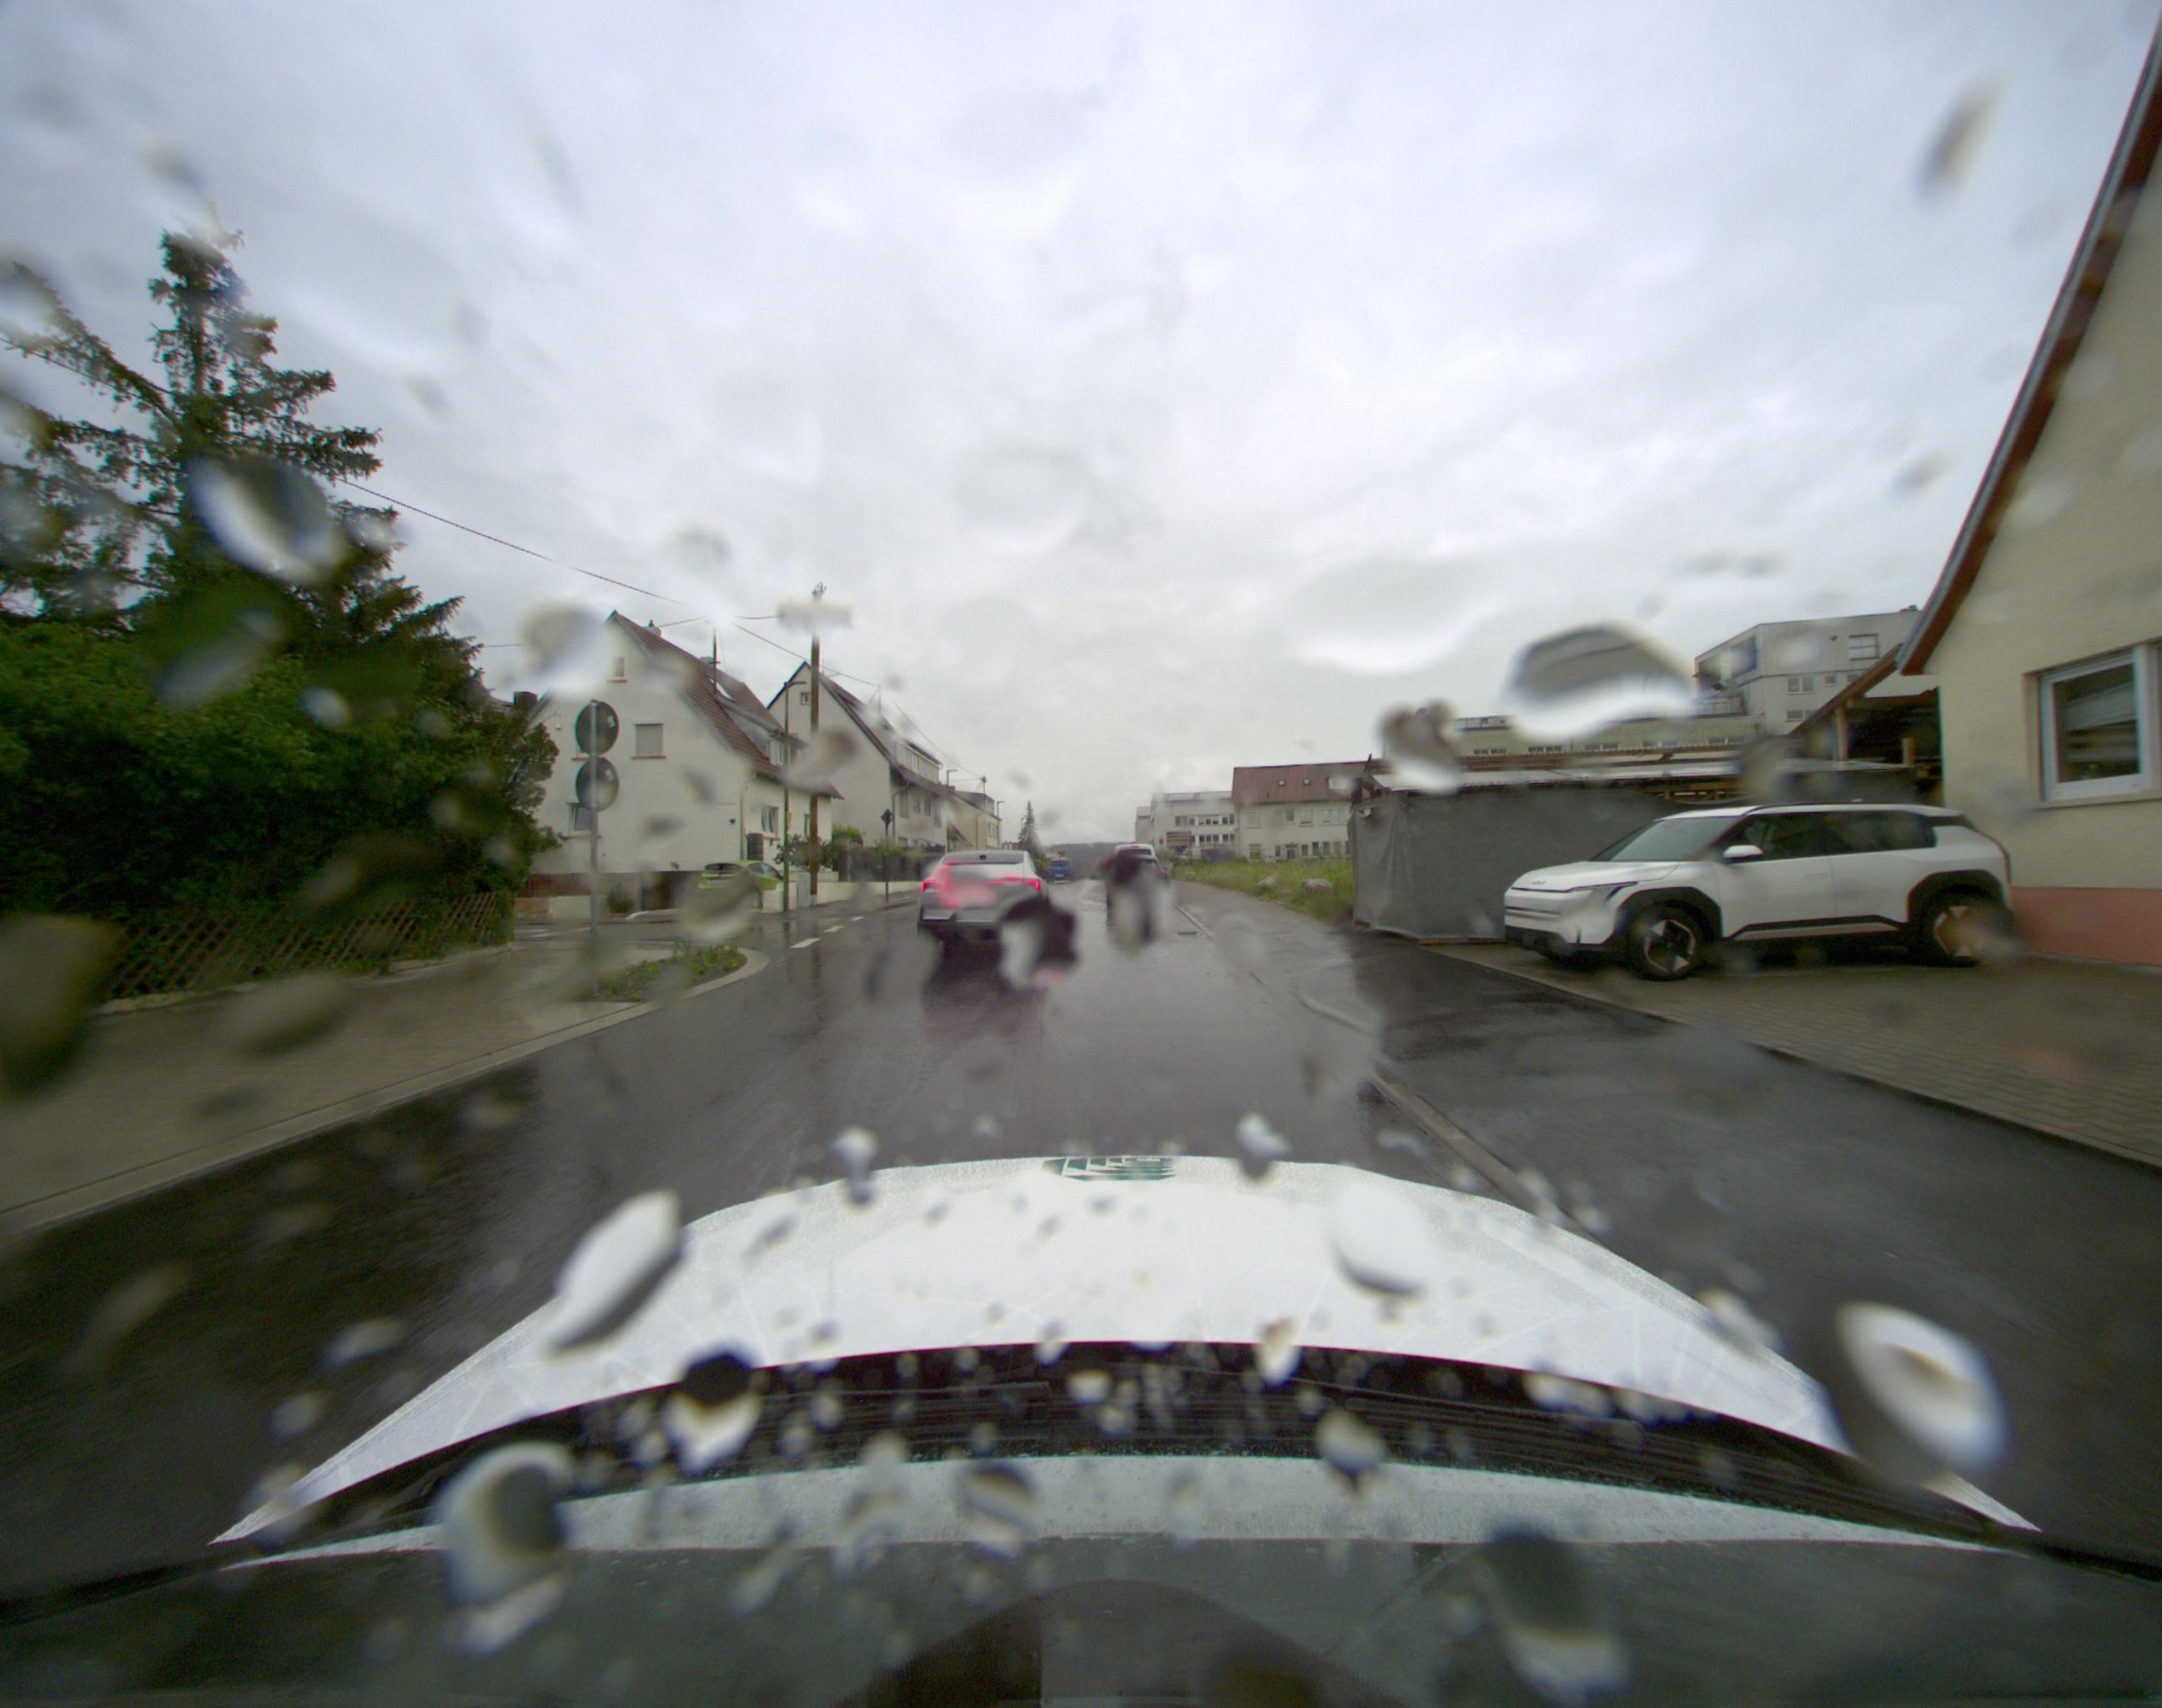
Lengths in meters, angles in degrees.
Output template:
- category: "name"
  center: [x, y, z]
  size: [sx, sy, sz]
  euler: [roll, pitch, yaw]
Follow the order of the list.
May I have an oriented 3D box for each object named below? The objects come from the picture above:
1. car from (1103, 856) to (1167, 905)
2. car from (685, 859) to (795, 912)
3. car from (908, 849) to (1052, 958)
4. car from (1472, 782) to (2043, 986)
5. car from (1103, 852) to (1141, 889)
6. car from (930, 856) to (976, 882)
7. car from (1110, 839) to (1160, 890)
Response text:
- category: "car"
  center: [1.553, 0.751, 24.587]
  size: [1.762, 1.336, 4.322]
  euler: [0, -1, 2]
- category: "car"
  center: [-10.358, 0.946, 25.012]
  size: [1.771, 1.467, 3.459]
  euler: [-1, -1, 3]
- category: "car"
  center: [-1.501, 0.714, 13.794]
  size: [1.988, 1.502, 4.665]
  euler: [-1, -1, -2]
- category: "car"
  center: [6.560, 0.285, 8.294]
  size: [4.203, 1.610, 1.861]
  euler: [-3, -1, 0]
- category: "car"
  center: [1.874, 0.732, 37.707]
  size: [1.636, 1.575, 4.646]
  euler: [0, -1, 2]
- category: "car"
  center: [-8.346, 0.969, 53.504]
  size: [1.986, 1.510, 4.897]
  euler: [2, -1, 2]
- category: "car"
  center: [1.989, 0.396, 31.276]
  size: [1.762, 1.825, 4.576]
  euler: [0, -1, 2]
